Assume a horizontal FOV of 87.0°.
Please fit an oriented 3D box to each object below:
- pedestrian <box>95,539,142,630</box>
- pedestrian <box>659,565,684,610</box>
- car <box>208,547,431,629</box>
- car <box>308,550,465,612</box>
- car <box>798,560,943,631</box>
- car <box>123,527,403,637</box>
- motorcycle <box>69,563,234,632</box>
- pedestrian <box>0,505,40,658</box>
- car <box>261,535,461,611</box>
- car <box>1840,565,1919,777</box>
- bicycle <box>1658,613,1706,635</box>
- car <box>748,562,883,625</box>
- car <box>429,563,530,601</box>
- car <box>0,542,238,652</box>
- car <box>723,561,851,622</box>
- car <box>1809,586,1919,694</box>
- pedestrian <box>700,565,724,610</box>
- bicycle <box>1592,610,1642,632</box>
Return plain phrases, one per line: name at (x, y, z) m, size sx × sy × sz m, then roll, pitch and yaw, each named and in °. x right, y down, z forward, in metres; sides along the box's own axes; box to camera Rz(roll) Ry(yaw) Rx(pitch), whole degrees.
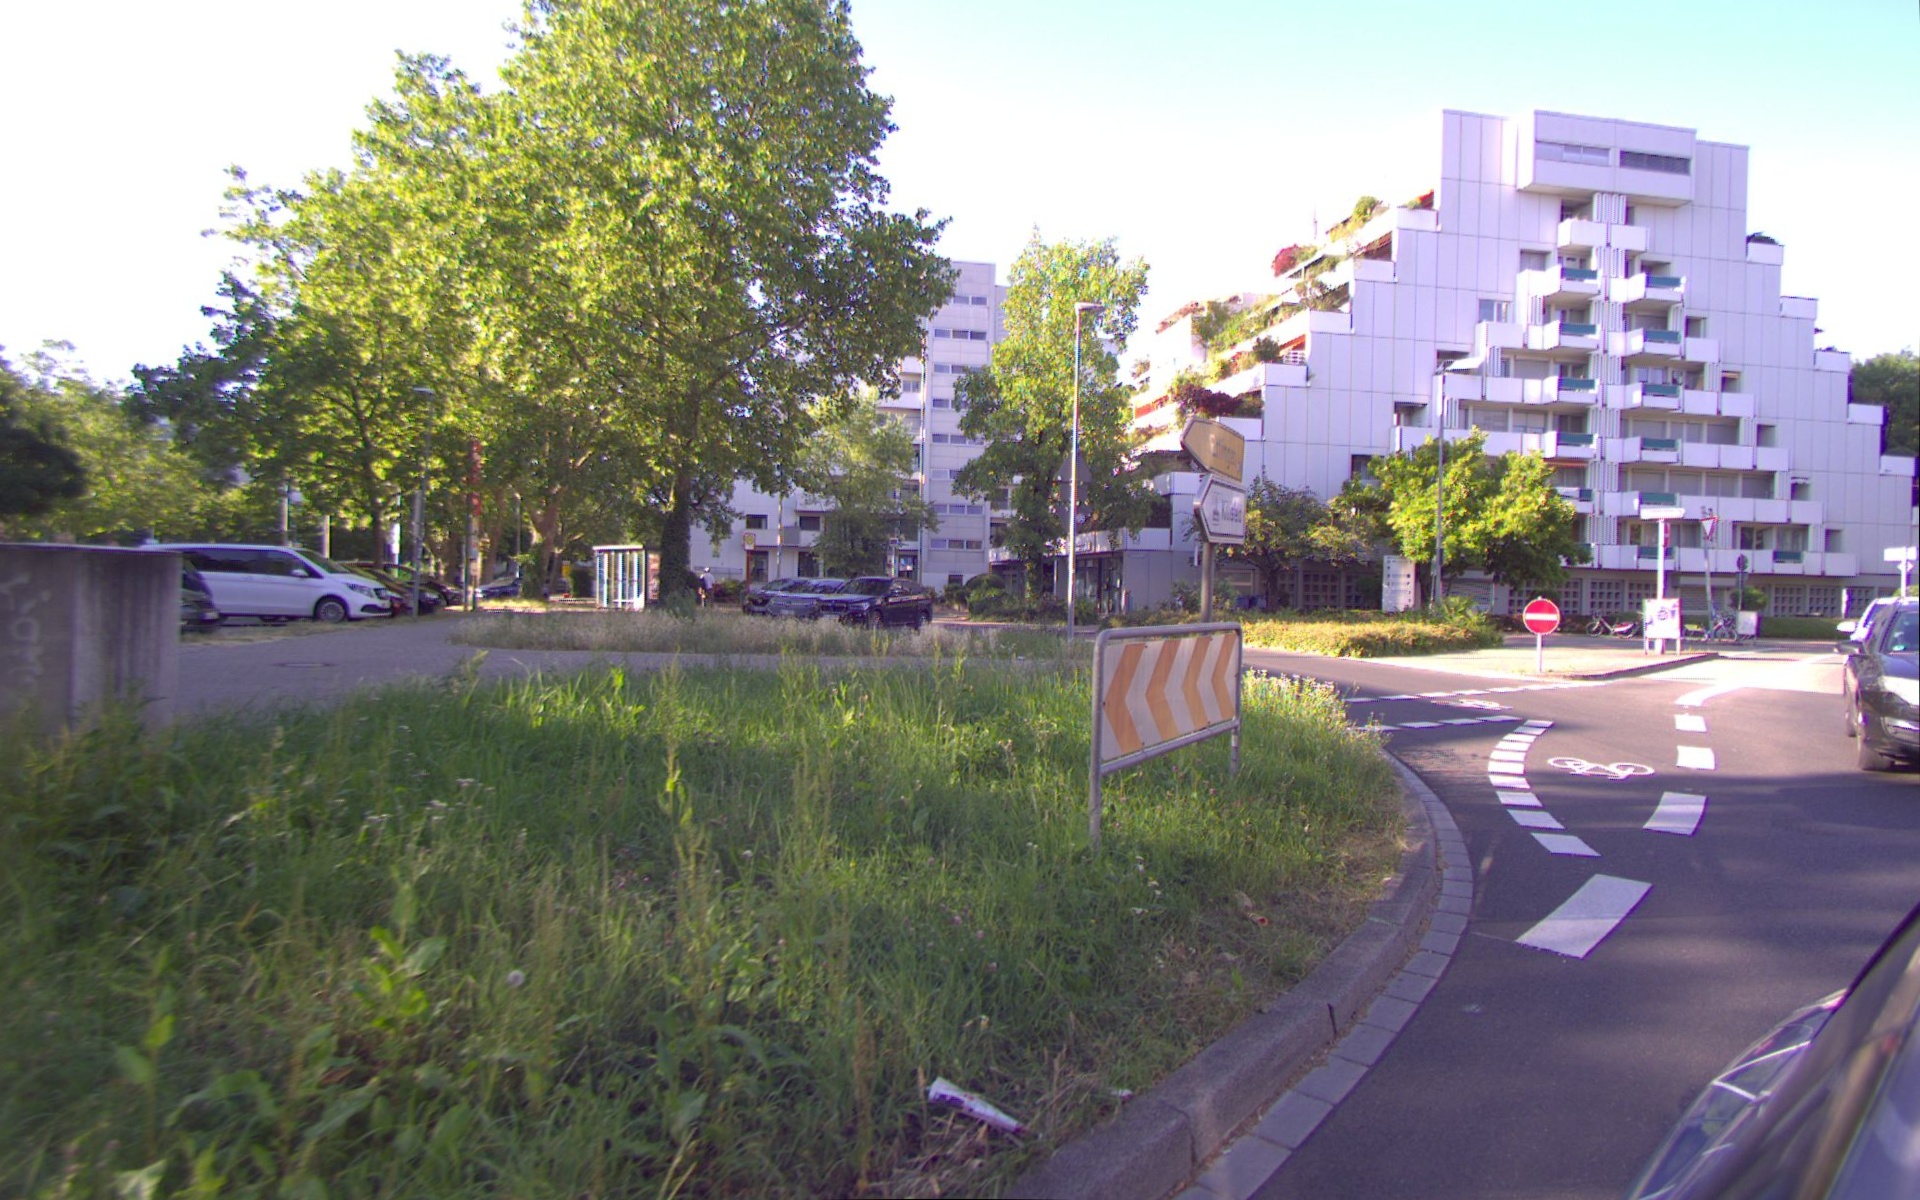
pedestrian at (-16.504, -0.307, 19.865) m, size 0.521 × 1.773 × 0.562 m, roll -1°, pitch 1°, yaw -19°
pedestrian at (-10.905, -0.468, 38.270) m, size 0.742 × 1.683 × 0.620 m, roll 2°, pitch 1°, yaw 45°
car at (-16.928, -0.309, 27.004) m, size 4.536 × 1.797 × 2.005 m, roll 4°, pitch 0°, yaw -14°
car at (-20.045, -0.667, 35.421) m, size 4.543 × 1.797 × 2.003 m, roll 4°, pitch 0°, yaw -34°
car at (-2.315, -0.070, 27.611) m, size 1.919 × 1.680 × 4.438 m, roll 4°, pitch 0°, yaw 25°
car at (-16.266, -0.390, 23.918) m, size 4.946 × 2.123 × 2.005 m, roll 4°, pitch 0°, yaw -14°
motorcycle at (-15.412, -0.049, 19.374) m, size 2.267 × 1.263 × 0.954 m, roll 1°, pitch 1°, yaw -18°
pedestrian at (-12.262, -0.237, 12.654) m, size 0.772 × 1.903 × 0.801 m, roll 1°, pitch 1°, yaw 9°
car at (-17.370, -0.769, 29.589) m, size 4.536 × 1.797 × 2.005 m, roll 4°, pitch 0°, yaw -14°
car at (8.975, 0.545, 8.795) m, size 1.837 × 1.565 × 4.459 m, roll 0°, pitch -1°, yaw 39°
bicycle at (29.065, 0.966, 40.745) m, size 1.568 × 0.794 × 0.458 m, roll 2°, pitch 1°, yaw 38°
car at (-4.162, -0.136, 29.888) m, size 1.809 × 1.607 × 4.331 m, roll 4°, pitch 0°, yaw 25°
car at (-23.760, -0.905, 50.118) m, size 1.991 × 1.821 × 4.051 m, roll 0°, pitch 1°, yaw 41°
car at (-14.512, -0.086, 16.632) m, size 3.902 × 1.542 × 1.680 m, roll 4°, pitch 0°, yaw -19°
car at (-5.474, -0.232, 32.455) m, size 1.858 × 1.659 × 3.955 m, roll 4°, pitch 0°, yaw 31°
car at (14.502, 0.562, 15.141) m, size 3.464 × 1.472 × 1.657 m, roll 1°, pitch 1°, yaw -30°
pedestrian at (-9.377, -0.478, 38.280) m, size 0.712 × 1.683 × 0.746 m, roll 1°, pitch 1°, yaw -4°
bicycle at (26.850, 0.848, 41.369) m, size 1.670 × 0.848 × 0.464 m, roll 1°, pitch 1°, yaw 6°
